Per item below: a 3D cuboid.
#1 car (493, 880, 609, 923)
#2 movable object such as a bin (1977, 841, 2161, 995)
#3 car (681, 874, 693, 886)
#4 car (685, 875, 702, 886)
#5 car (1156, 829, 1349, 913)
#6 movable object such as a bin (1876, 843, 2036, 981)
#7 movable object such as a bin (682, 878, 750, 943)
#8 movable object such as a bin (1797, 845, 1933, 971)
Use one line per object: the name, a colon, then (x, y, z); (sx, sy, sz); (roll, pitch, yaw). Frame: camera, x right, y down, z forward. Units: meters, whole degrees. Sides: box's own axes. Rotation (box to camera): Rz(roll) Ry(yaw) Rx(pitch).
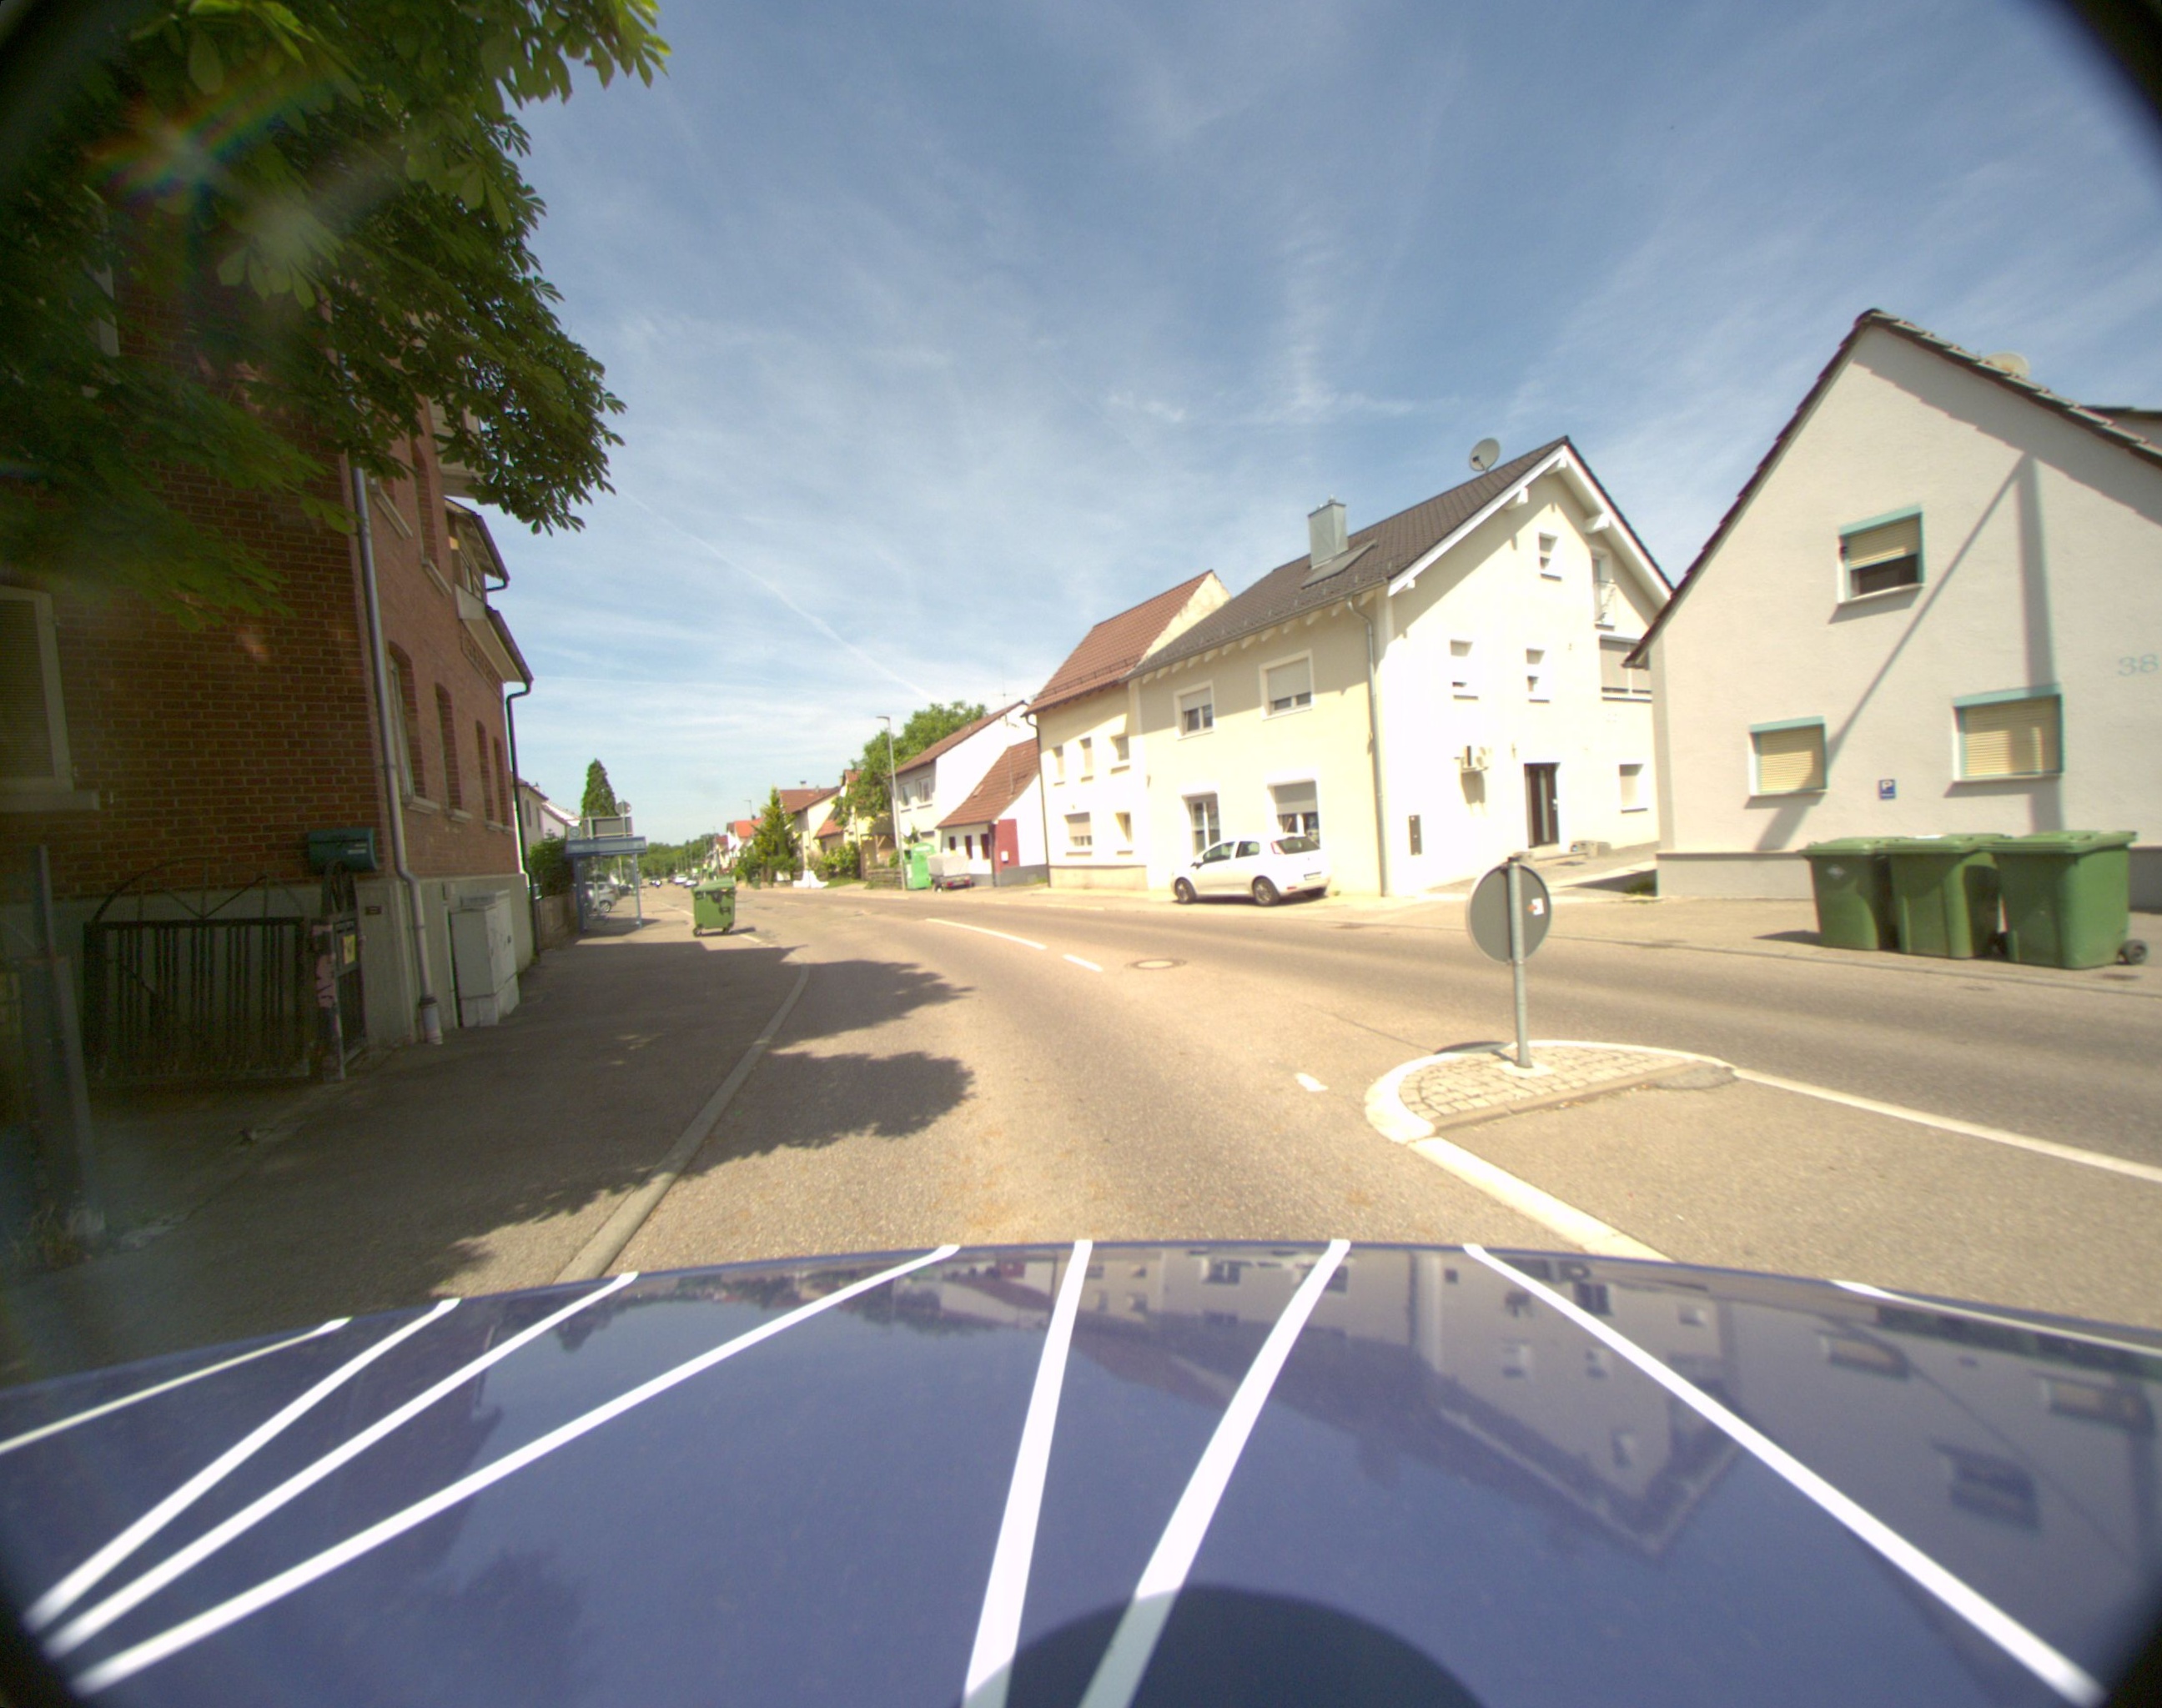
car: (-24.758, 2.196, 35.629); (1.760, 1.562, 4.007); (-3, 1, 36)
movable object such as a bin: (7.885, 0.475, 6.042); (0.683, 1.071, 0.724); (-7, 2, -17)
car: (-63.904, 4.222, 123.228); (1.413, 1.690, 3.309); (-4, 1, -31)
car: (-50.277, 3.450, 98.586); (1.652, 1.349, 3.558); (-4, 1, -31)
car: (3.709, 0.370, 17.095); (1.828, 1.494, 3.991); (-7, 2, -33)
movable object such as a bin: (7.675, 0.481, 6.679); (0.733, 1.071, 0.632); (-7, 2, -17)
movable object such as a bin: (-9.565, 1.439, 19.884); (1.357, 1.512, 1.288); (-4, 1, -33)
movable object such as a bin: (7.503, 0.493, 7.288); (0.643, 1.087, 0.631); (-7, 2, -17)
